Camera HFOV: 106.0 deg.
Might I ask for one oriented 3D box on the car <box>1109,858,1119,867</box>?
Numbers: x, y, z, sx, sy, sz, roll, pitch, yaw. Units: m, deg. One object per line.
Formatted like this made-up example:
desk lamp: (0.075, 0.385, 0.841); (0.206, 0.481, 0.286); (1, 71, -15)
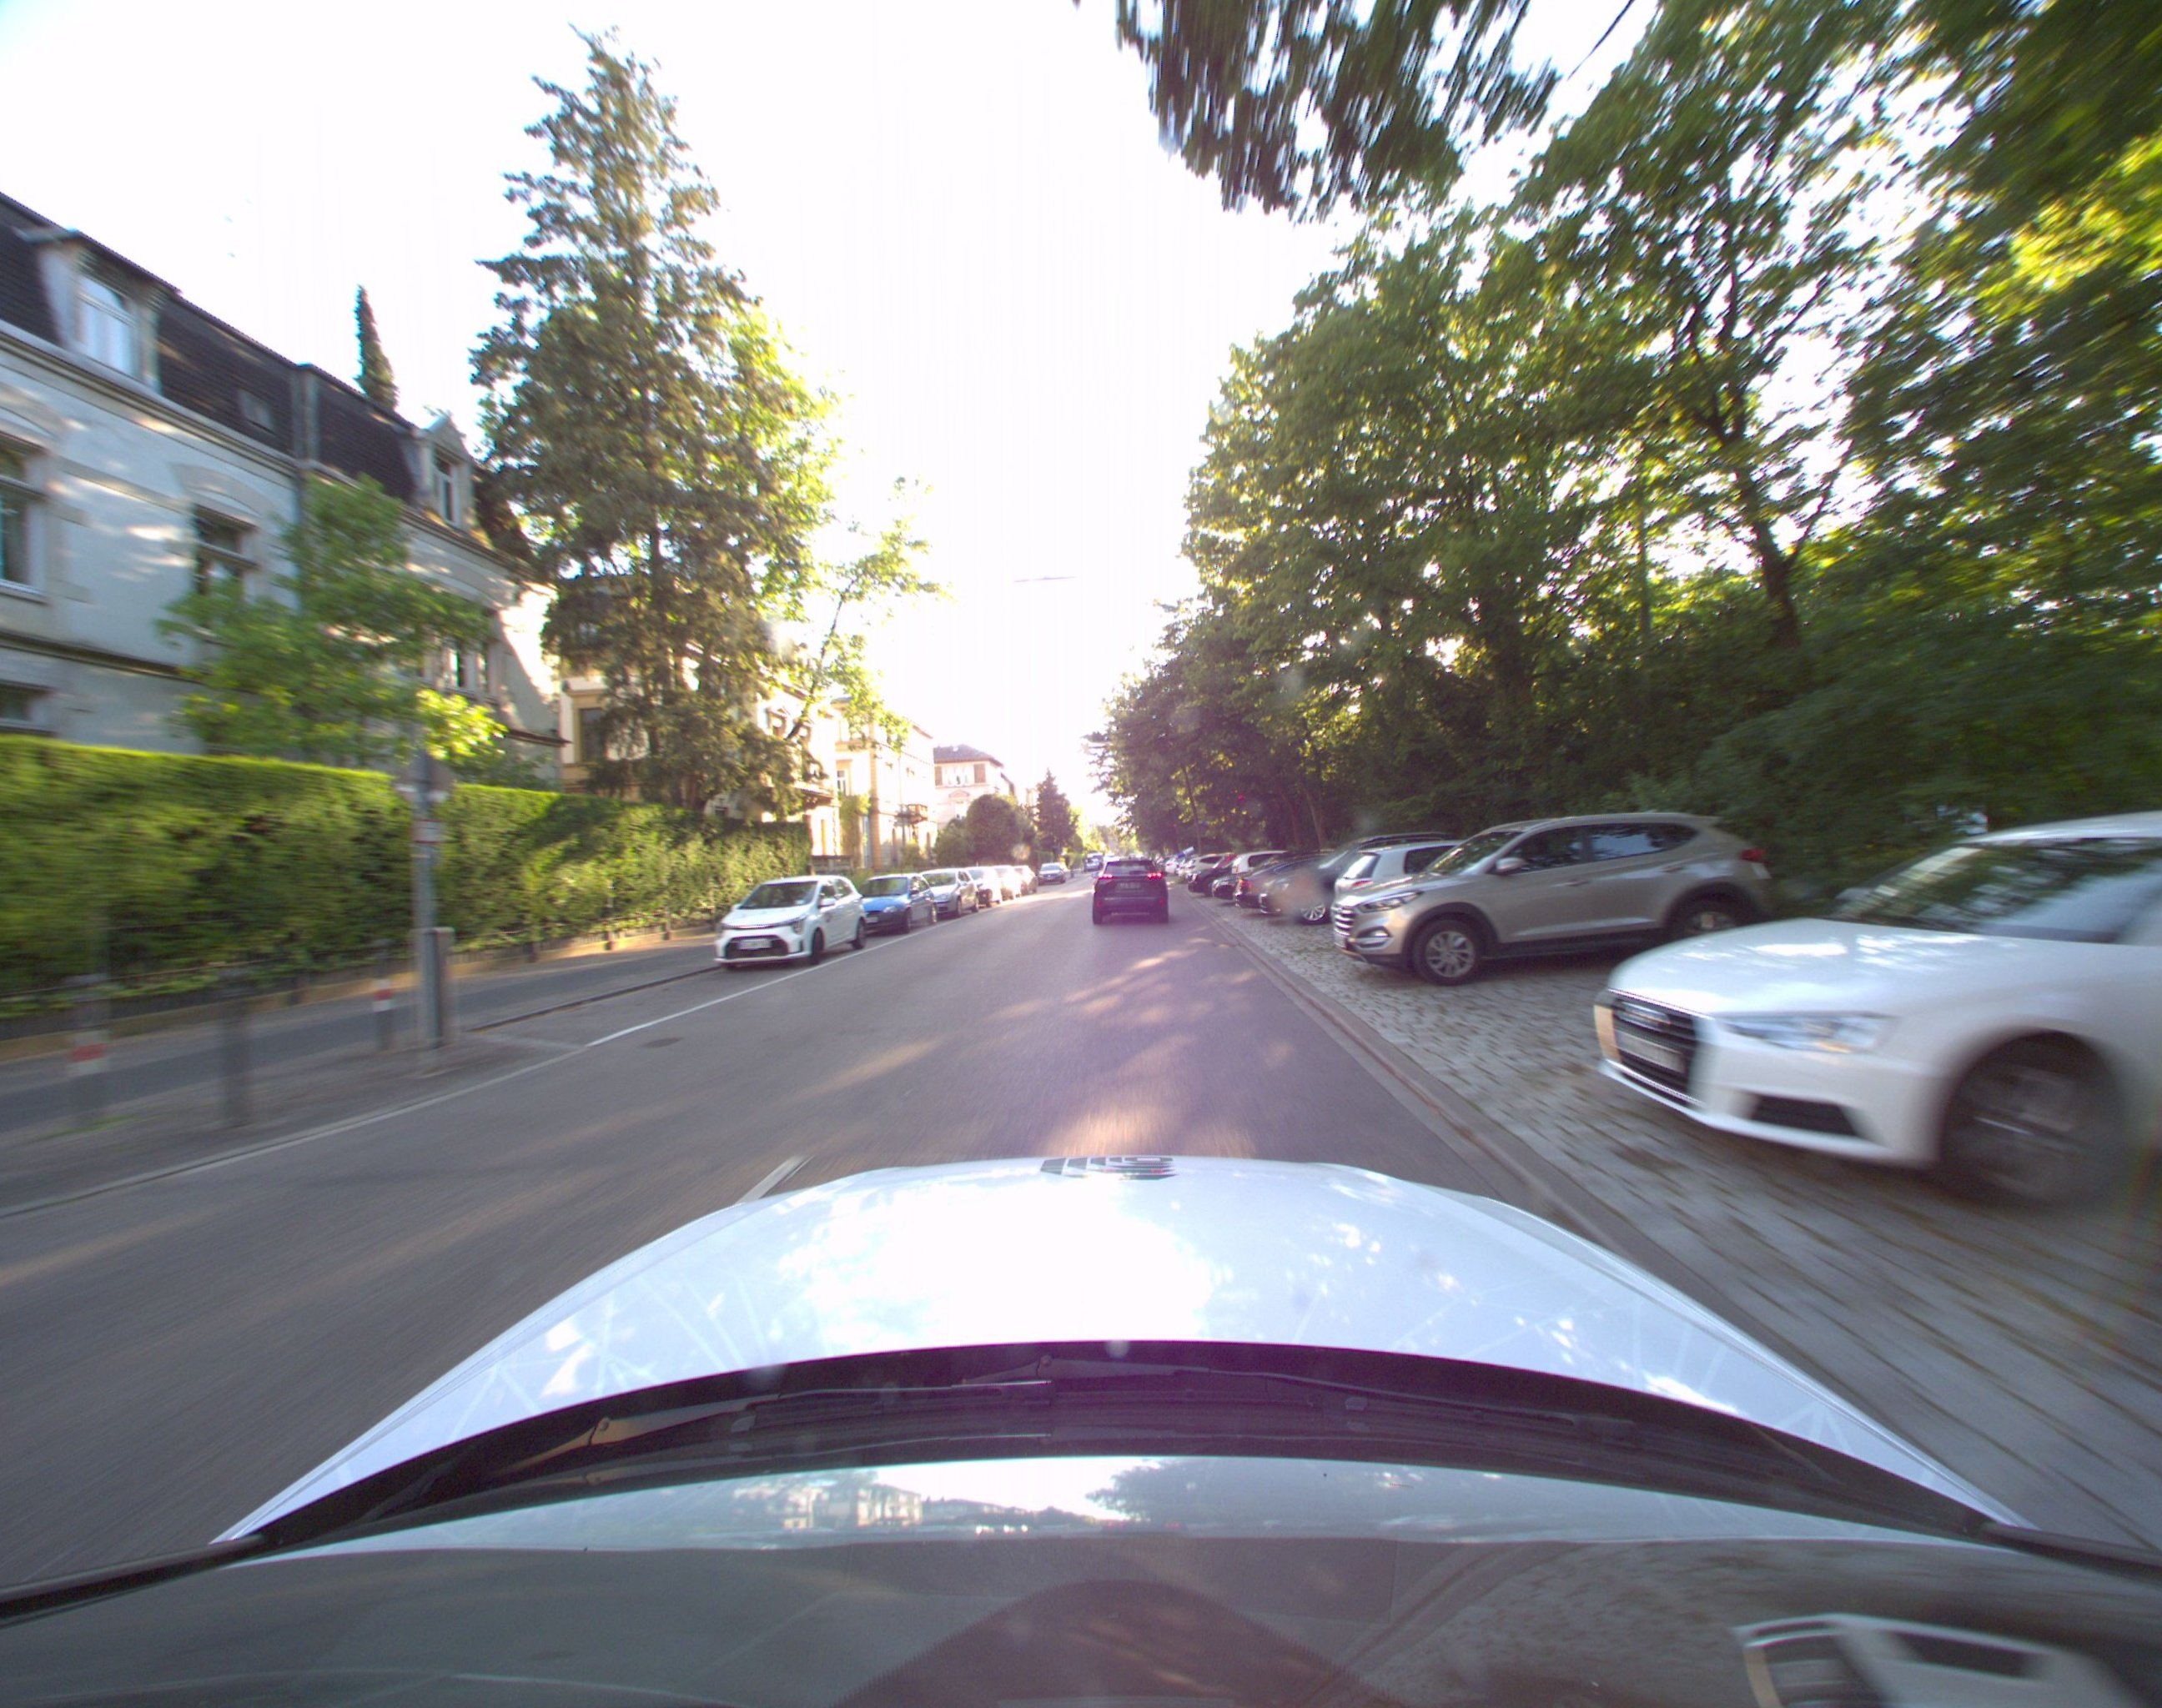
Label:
car: (7.402, 1.937, 182.059); (1.985, 1.816, 4.004); (-2, -1, 4)

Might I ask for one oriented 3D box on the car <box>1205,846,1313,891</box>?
car: (6.989, 0.569, 32.293); (3.796, 1.449, 1.877); (-4, -1, -1)

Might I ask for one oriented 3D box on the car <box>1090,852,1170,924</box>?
car: (1.173, 0.769, 20.363); (1.765, 1.568, 4.110); (-1, 0, 2)

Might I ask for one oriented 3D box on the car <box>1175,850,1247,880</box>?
car: (7.829, 0.693, 49.283); (3.975, 1.624, 1.757); (-2, -1, -1)

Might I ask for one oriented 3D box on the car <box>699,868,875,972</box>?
car: (-5.133, 1.071, 14.754); (1.607, 1.515, 3.714); (-5, -1, 2)

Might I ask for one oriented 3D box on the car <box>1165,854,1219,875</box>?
car: (8.714, 0.824, 64.073); (3.975, 1.526, 1.757); (-2, -1, -1)

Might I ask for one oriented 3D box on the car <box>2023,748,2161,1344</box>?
car: (4.722, 0.403, 1.408); (3.970, 1.554, 1.754); (-3, 0, 3)

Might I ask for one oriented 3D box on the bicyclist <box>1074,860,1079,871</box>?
bicyclist: (-0.726, 1.846, 130.631); (0.690, 1.792, 0.773); (-2, -1, 1)

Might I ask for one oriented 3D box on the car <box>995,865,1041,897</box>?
car: (-3.116, 1.316, 41.047); (1.606, 1.466, 4.040); (-3, -1, 4)

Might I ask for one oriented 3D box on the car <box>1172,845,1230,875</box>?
car: (9.012, 0.476, 61.277); (3.975, 2.089, 1.757); (-2, -1, -1)

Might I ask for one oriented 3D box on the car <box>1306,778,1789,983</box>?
car: (5.038, 0.293, 9.376); (4.289, 1.804, 2.037); (-4, -1, 2)

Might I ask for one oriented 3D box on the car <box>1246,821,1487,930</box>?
car: (5.726, 0.445, 16.767); (4.227, 1.789, 1.885); (-5, -1, 3)

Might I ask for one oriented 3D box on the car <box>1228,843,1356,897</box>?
car: (6.834, 0.518, 26.730); (3.788, 1.449, 1.829); (-4, -1, 7)

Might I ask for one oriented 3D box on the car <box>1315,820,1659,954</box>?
car: (5.579, 0.456, 11.613); (3.970, 1.554, 1.727); (-3, -1, 3)

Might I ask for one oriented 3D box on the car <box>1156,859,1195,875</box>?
car: (10.008, 1.401, 86.499); (3.968, 1.526, 1.760); (-2, -1, 5)

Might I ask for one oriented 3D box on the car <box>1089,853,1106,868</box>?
car: (2.316, 0.933, 113.191); (1.984, 2.014, 4.005); (-2, -1, 5)

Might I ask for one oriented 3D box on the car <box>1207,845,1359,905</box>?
car: (5.920, 0.621, 24.269); (4.135, 1.449, 1.734); (-4, -1, 7)

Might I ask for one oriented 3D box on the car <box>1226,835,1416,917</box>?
car: (5.609, 0.523, 19.436); (3.970, 1.554, 1.727); (-5, -1, 3)

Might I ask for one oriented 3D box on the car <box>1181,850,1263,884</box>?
car: (7.186, 0.670, 41.756); (3.796, 1.449, 1.825); (-4, -1, -1)

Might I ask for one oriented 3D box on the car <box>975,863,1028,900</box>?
car: (-3.473, 1.189, 36.355); (1.606, 1.466, 4.040); (-3, -1, 4)

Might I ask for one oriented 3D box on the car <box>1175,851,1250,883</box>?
car: (7.541, 0.736, 47.021); (3.975, 1.624, 1.757); (-2, -1, -1)

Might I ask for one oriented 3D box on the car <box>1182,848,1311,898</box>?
car: (5.913, 0.676, 29.548); (4.227, 1.449, 2.022); (-4, -1, 1)

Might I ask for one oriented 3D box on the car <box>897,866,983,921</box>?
car: (-4.239, 1.146, 25.102); (1.606, 1.466, 4.040); (-3, -1, 4)

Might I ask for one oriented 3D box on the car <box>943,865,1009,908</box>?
car: (-3.896, 1.177, 30.872); (1.606, 1.466, 4.040); (-3, -1, 4)

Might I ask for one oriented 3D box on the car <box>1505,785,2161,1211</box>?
car: (4.835, 0.466, 4.018); (4.467, 1.554, 1.858); (-3, 0, 1)

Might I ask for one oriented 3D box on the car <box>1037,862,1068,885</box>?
car: (-1.984, 1.316, 57.246); (1.745, 1.414, 3.766); (-5, -1, 2)

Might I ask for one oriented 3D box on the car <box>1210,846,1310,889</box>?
car: (7.582, 0.562, 34.774); (3.796, 1.510, 1.825); (-4, -1, -1)

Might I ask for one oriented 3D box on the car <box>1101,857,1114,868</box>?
car: (4.598, 1.473, 140.783); (1.985, 1.816, 4.004); (-2, -1, 4)

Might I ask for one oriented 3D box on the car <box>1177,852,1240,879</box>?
car: (8.796, 0.794, 56.354); (3.975, 1.624, 1.757); (-2, -1, -1)

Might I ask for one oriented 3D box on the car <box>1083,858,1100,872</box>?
car: (1.362, 1.405, 102.480); (1.891, 1.574, 4.004); (-2, -1, 4)

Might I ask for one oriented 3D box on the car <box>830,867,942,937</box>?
car: (-4.755, 1.115, 20.344); (1.607, 1.485, 3.745); (-3, -1, 3)

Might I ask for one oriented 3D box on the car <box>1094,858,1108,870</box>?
car: (3.099, 1.489, 125.041); (1.985, 1.768, 4.003); (-2, -1, 3)
